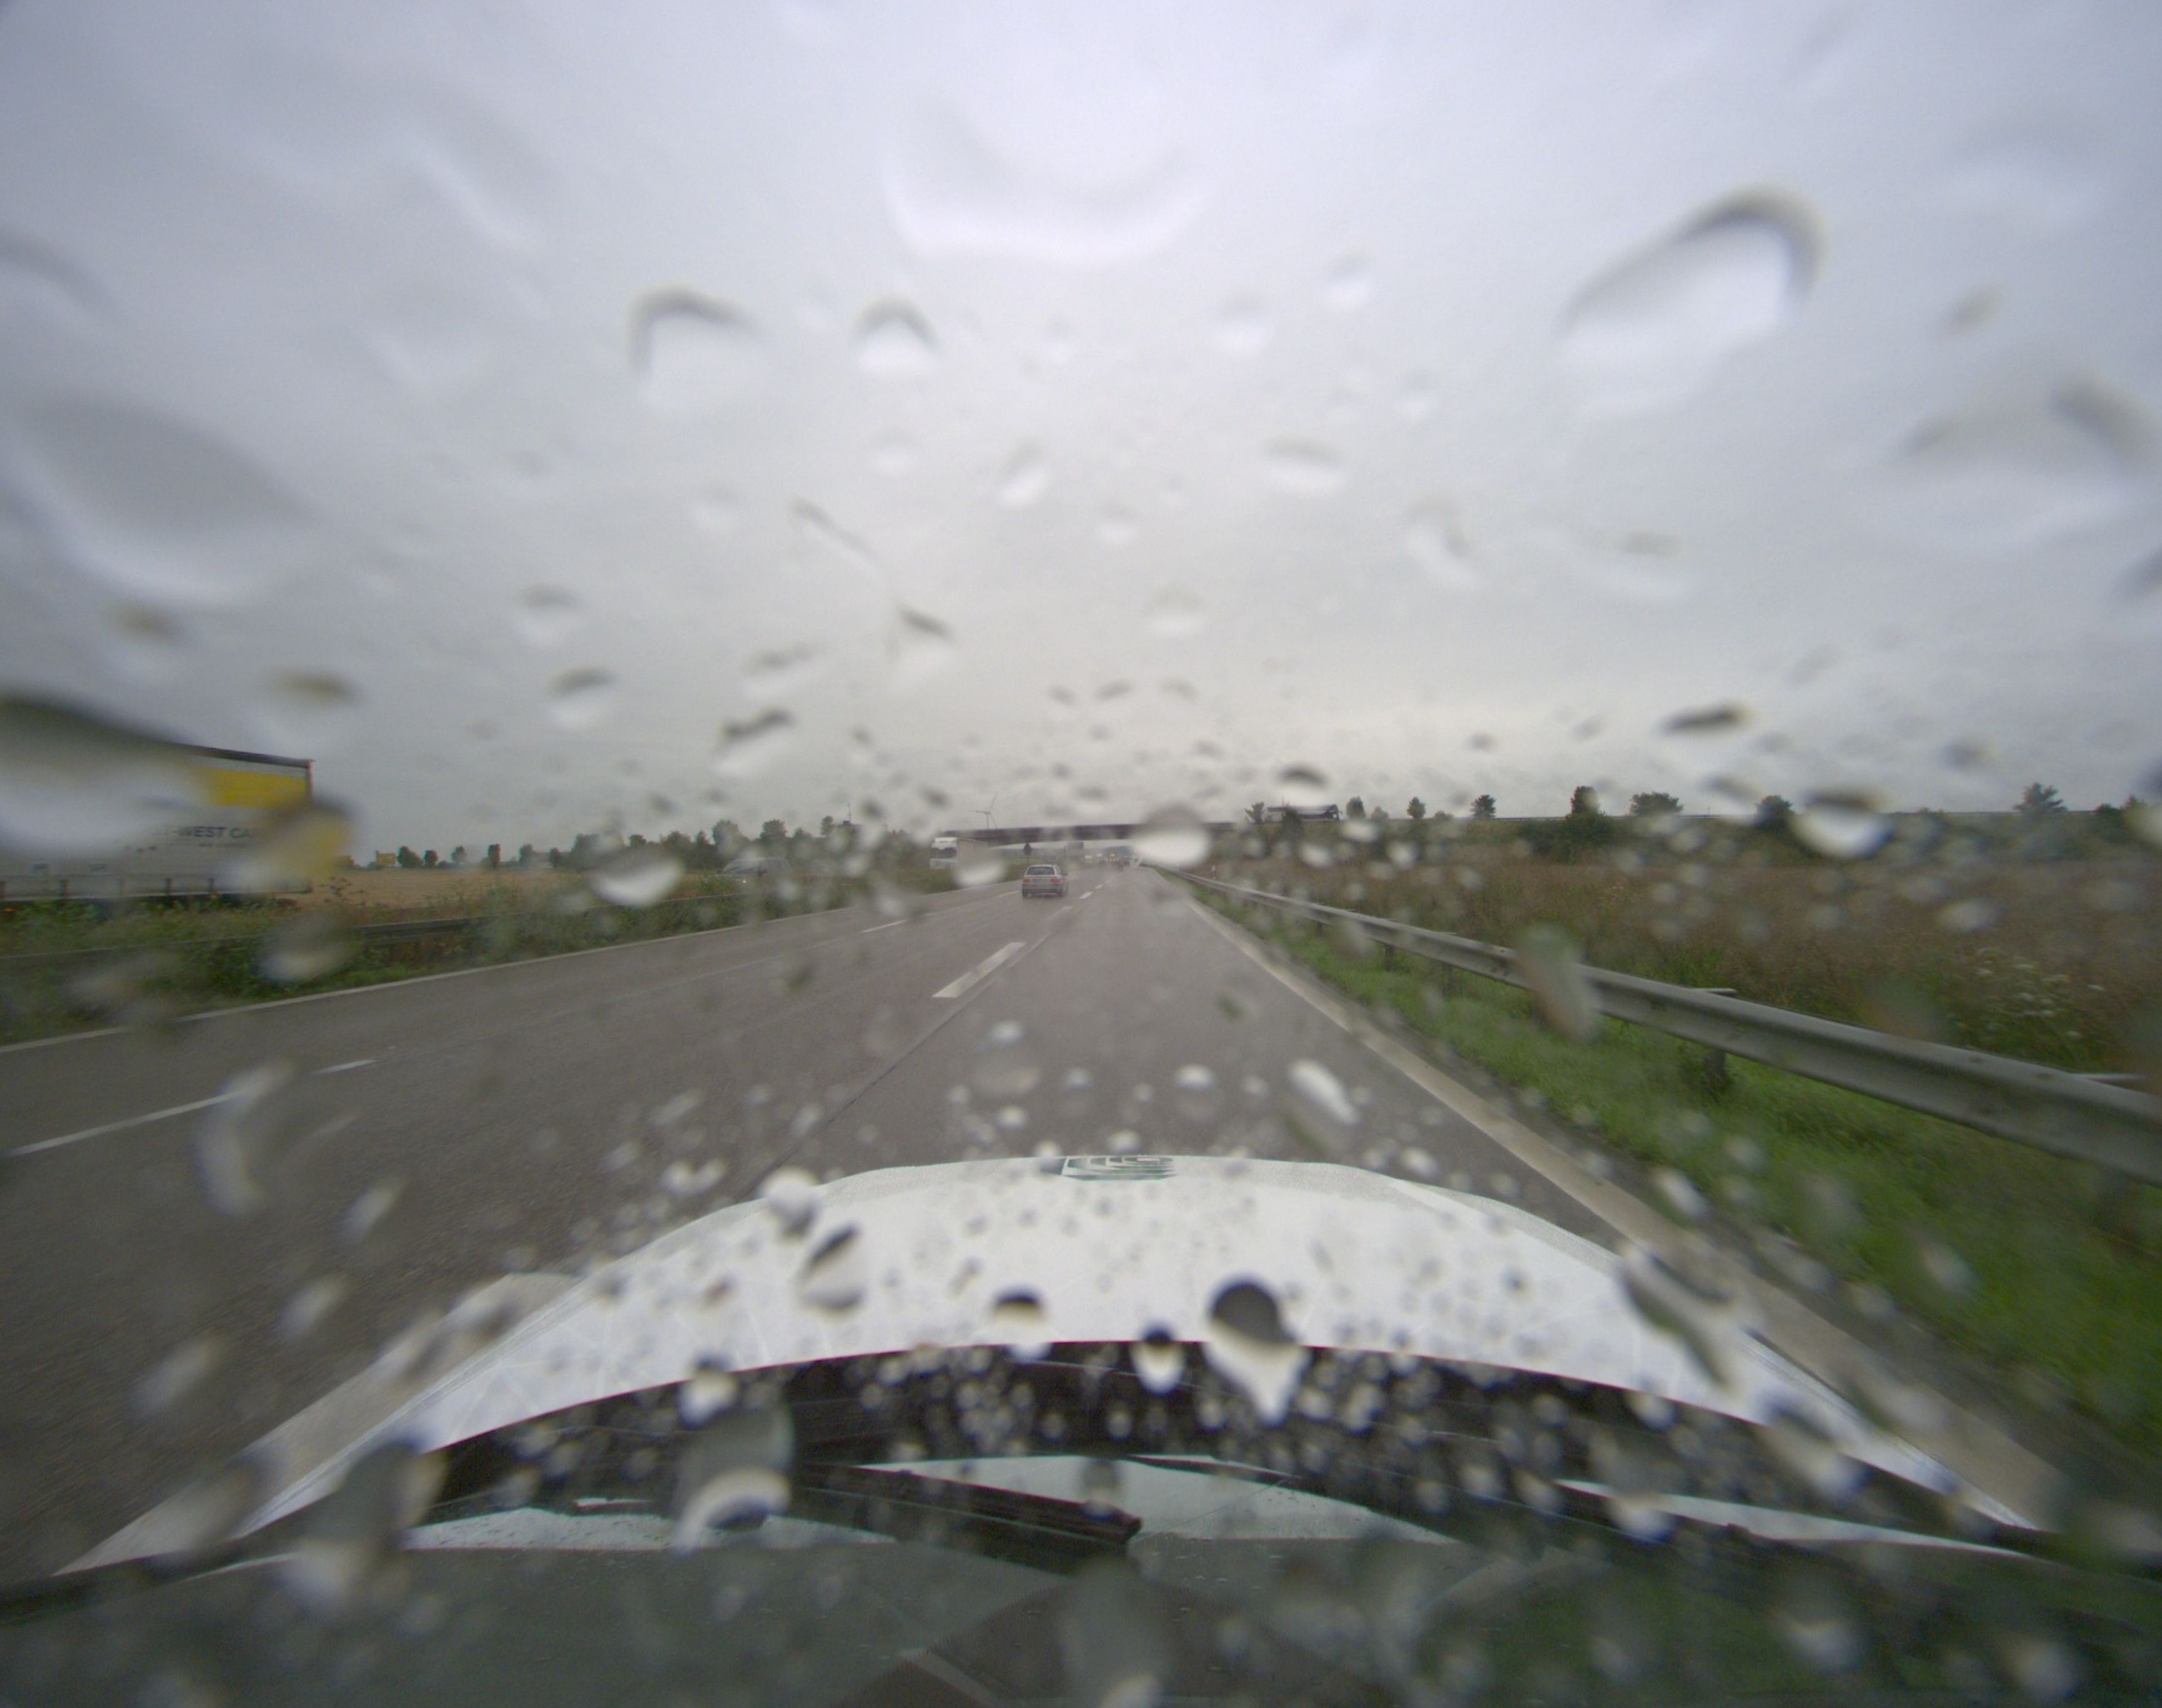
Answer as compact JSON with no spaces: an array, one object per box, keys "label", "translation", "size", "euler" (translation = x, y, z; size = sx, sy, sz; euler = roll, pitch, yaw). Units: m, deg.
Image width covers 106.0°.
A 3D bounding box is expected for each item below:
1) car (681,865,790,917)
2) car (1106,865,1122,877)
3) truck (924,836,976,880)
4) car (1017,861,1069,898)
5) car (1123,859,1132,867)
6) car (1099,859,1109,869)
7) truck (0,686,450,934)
[{"label":"car","translation":[-13.764,1.404,32.798],"size":[2.096,1.875,4.703],"euler":[-1,0,3]},{"label":"car","translation":[4.720,2.459,114.881],"size":[2.136,1.636,4.599],"euler":[0,-1,4]},{"label":"truck","translation":[-13.900,0.447,87.403],"size":[3.215,4.385,10.523],"euler":[-2,-1,4]},{"label":"car","translation":[-1.635,1.093,36.518],"size":[1.866,1.488,4.799],"euler":[-1,-1,3]},{"label":"car","translation":[11.067,2.063,193.919],"size":[1.985,1.697,4.005],"euler":[-3,1,4]},{"label":"car","translation":[4.741,2.024,167.415],"size":[1.985,1.749,4.004],"euler":[-3,1,3]},{"label":"truck","translation":[-18.868,-0.728,13.972],"size":[3.180,3.966,15.333],"euler":[1,0,4]}]
